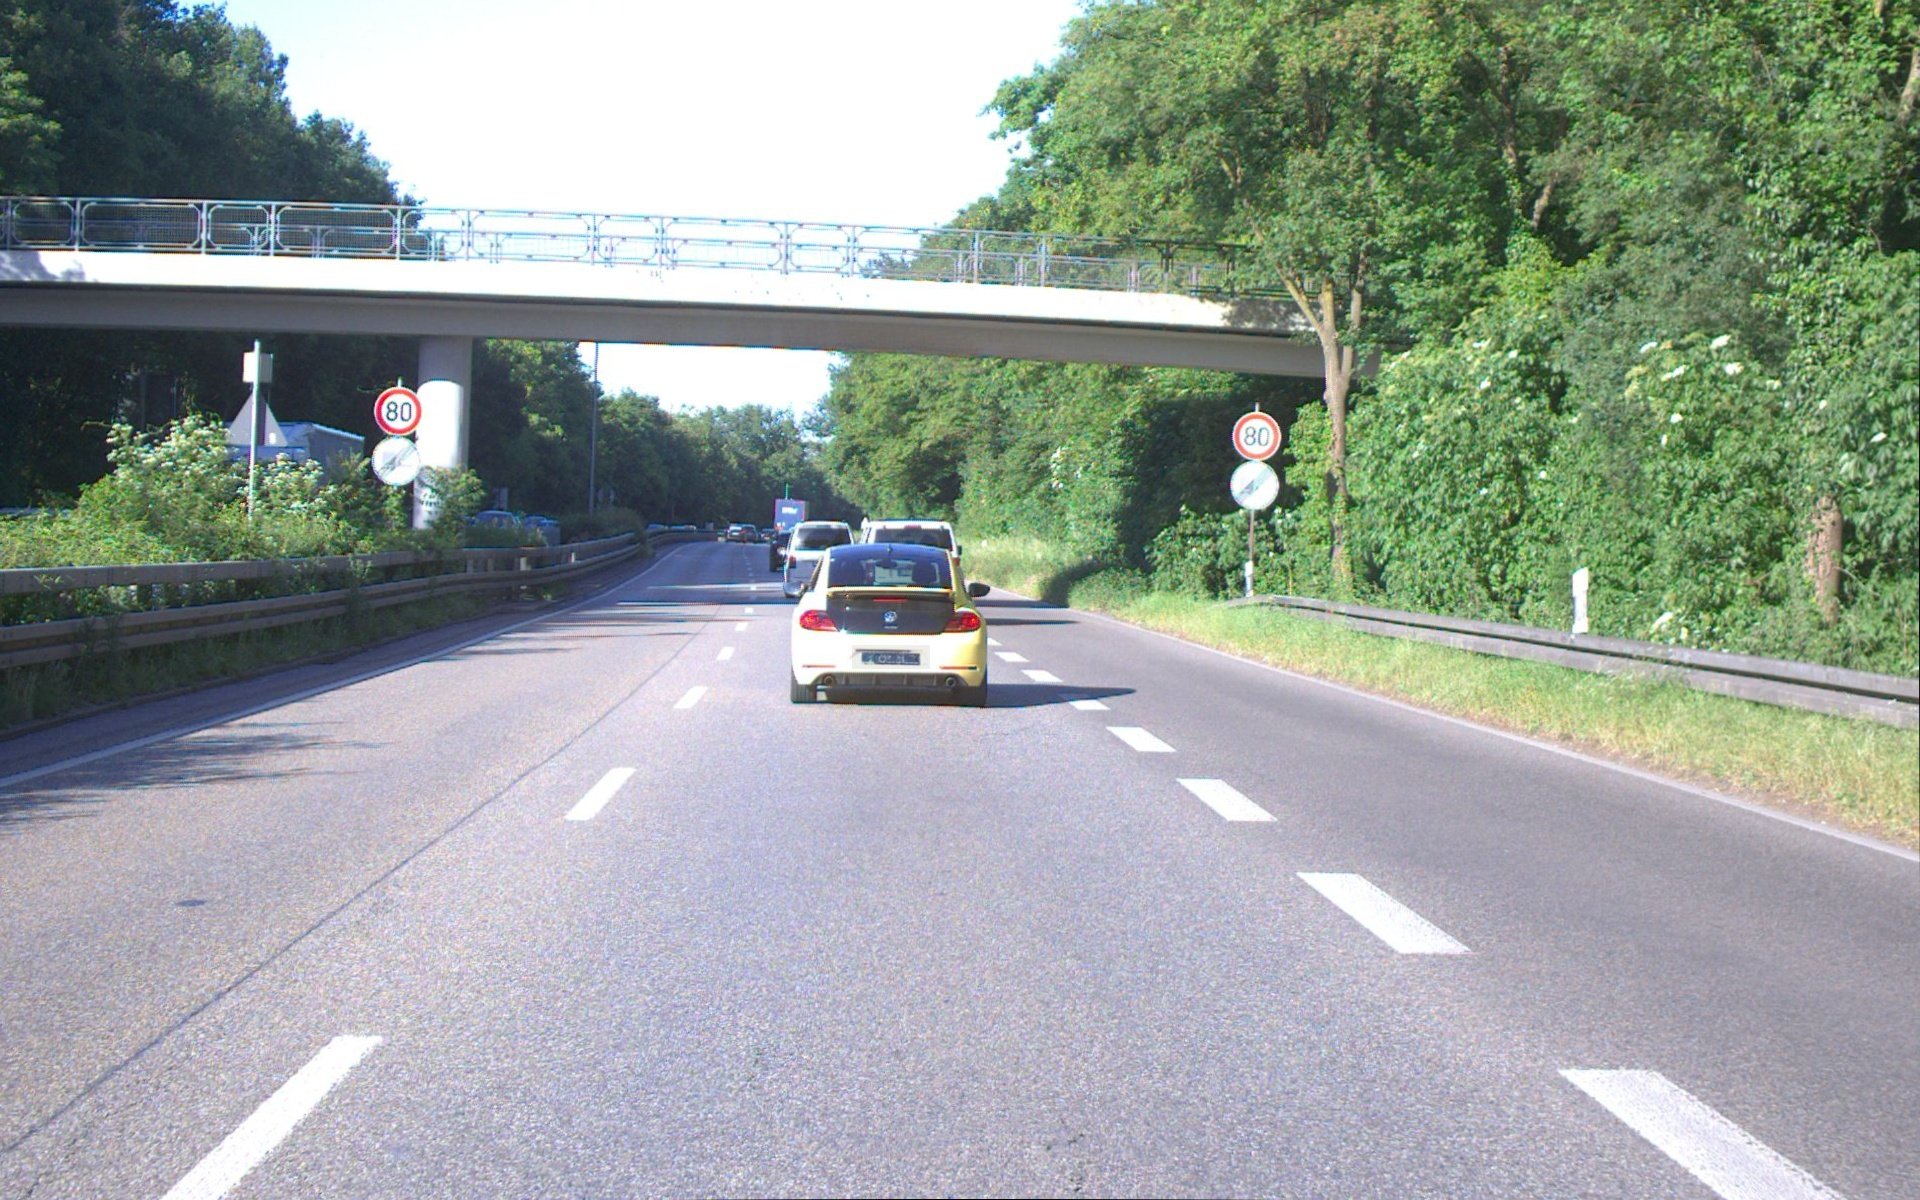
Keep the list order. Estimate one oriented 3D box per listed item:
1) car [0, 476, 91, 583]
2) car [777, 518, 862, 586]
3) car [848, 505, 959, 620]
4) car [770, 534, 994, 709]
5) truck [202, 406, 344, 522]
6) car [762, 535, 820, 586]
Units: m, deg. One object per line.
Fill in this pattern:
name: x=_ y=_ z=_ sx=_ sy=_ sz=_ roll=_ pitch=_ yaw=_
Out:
car: x=-18.332 y=-1.372 z=66.772 sx=1.993 sy=2.007 sz=4.000 roll=1 pitch=1 yaw=-2
car: x=-3.312 y=-1.133 z=81.385 sx=1.939 sy=1.539 sz=3.423 roll=1 pitch=1 yaw=-2
car: x=-0.957 y=-0.656 z=59.423 sx=1.741 sy=1.823 sz=3.422 roll=4 pitch=1 yaw=0
car: x=-0.684 y=0.165 z=31.987 sx=1.939 sy=1.503 sz=3.422 roll=1 pitch=1 yaw=0
truck: x=-19.818 y=-3.876 z=99.582 sx=2.929 sy=3.157 sz=7.084 roll=1 pitch=1 yaw=-2
car: x=-6.078 y=-1.435 z=123.151 sx=1.993 sy=1.744 sz=4.373 roll=1 pitch=1 yaw=-4
